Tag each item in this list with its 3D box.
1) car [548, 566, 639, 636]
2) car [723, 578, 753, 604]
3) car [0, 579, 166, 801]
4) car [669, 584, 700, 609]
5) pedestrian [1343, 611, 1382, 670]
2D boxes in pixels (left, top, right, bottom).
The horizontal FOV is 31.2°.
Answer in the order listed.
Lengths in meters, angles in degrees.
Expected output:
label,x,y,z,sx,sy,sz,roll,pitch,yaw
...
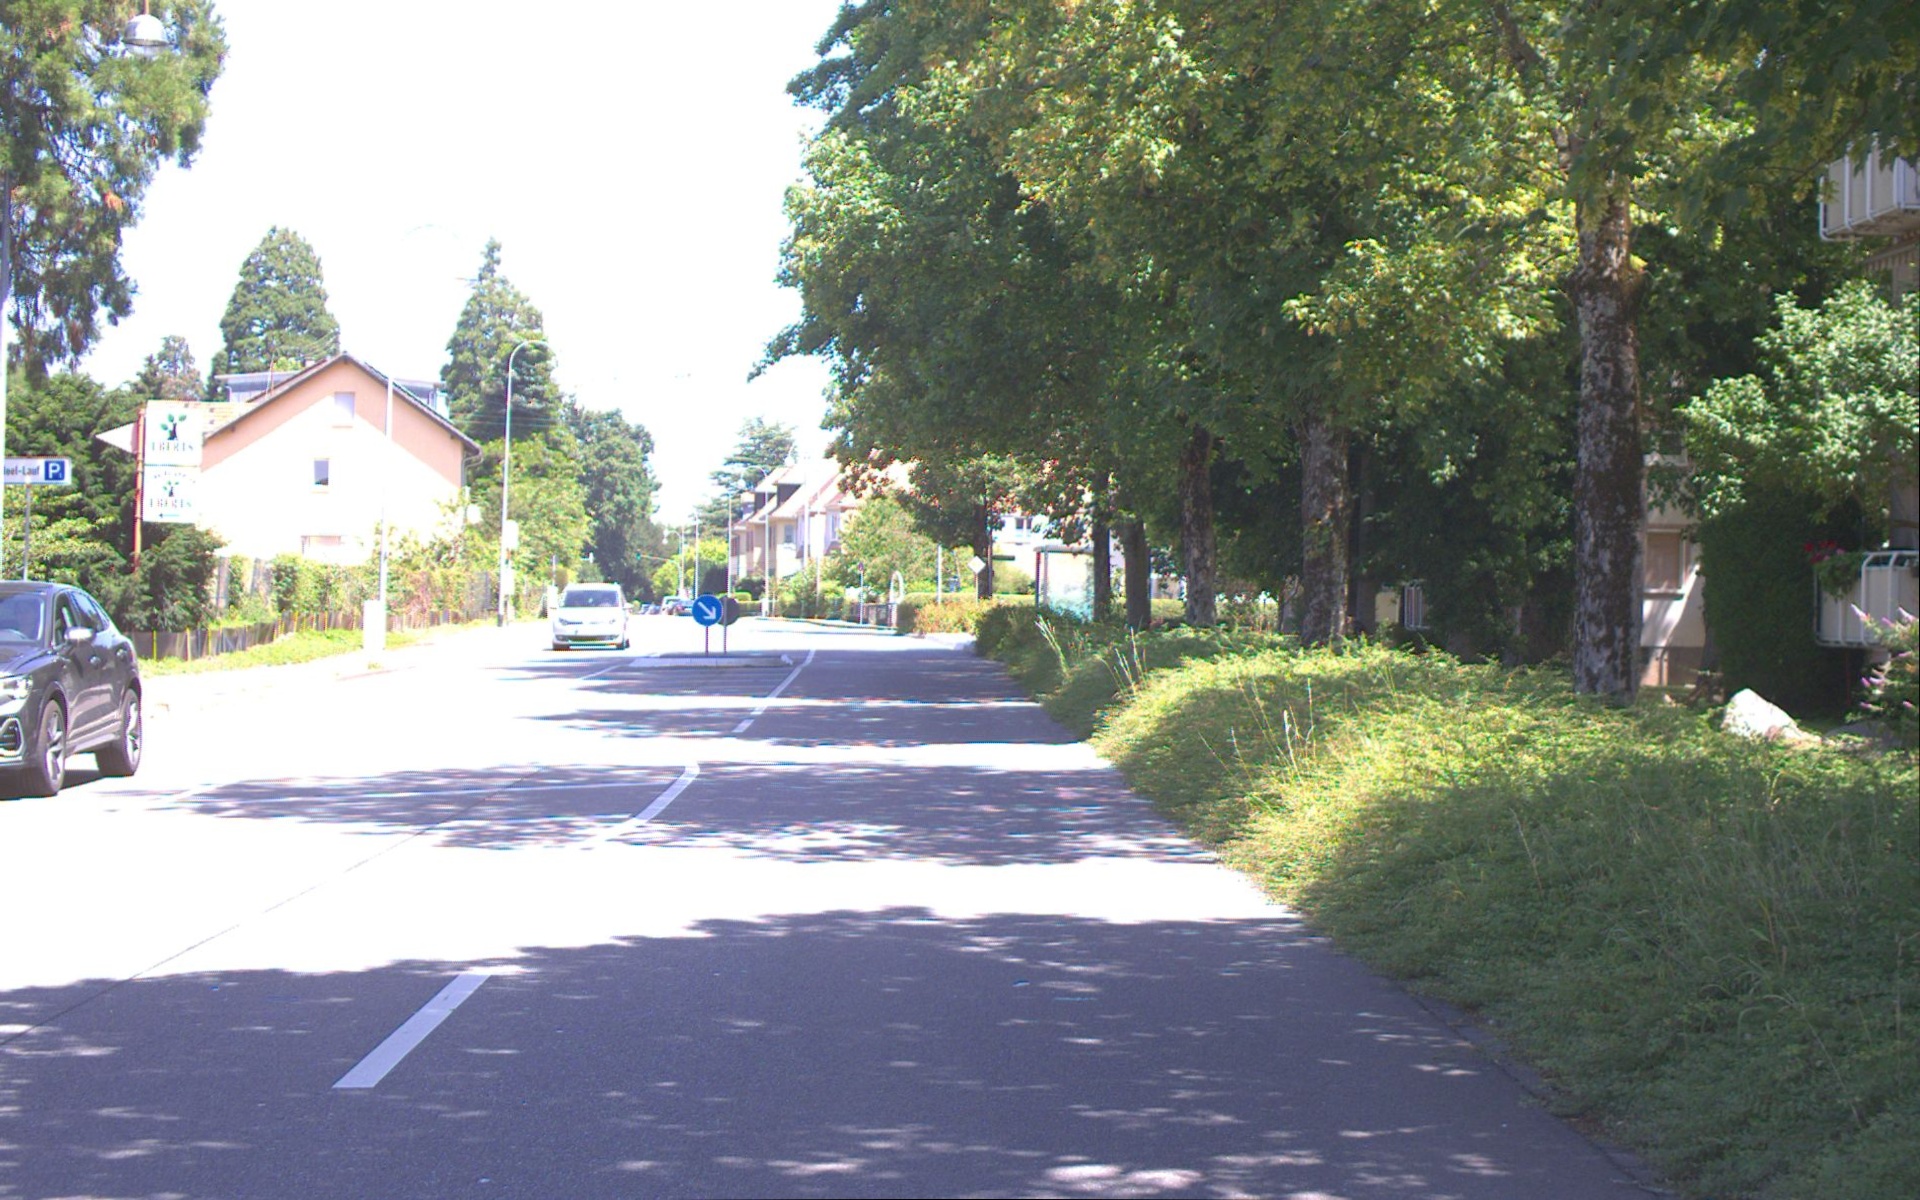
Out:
label,x,y,z,sx,sy,sz,roll,pitch,yaw
car,-9.016,0.009,84.853,1.912,1.683,4.125,0,0,-1
car,-15.337,-0.632,237.735,1.815,1.712,4.000,1,0,0
car,-7.364,0.610,25.950,1.793,1.531,4.315,0,0,-1
car,-19.006,-0.237,237.685,1.815,1.712,4.000,1,0,0
pedestrian,8.007,0.804,68.342,0.704,1.156,0.754,1,0,3
